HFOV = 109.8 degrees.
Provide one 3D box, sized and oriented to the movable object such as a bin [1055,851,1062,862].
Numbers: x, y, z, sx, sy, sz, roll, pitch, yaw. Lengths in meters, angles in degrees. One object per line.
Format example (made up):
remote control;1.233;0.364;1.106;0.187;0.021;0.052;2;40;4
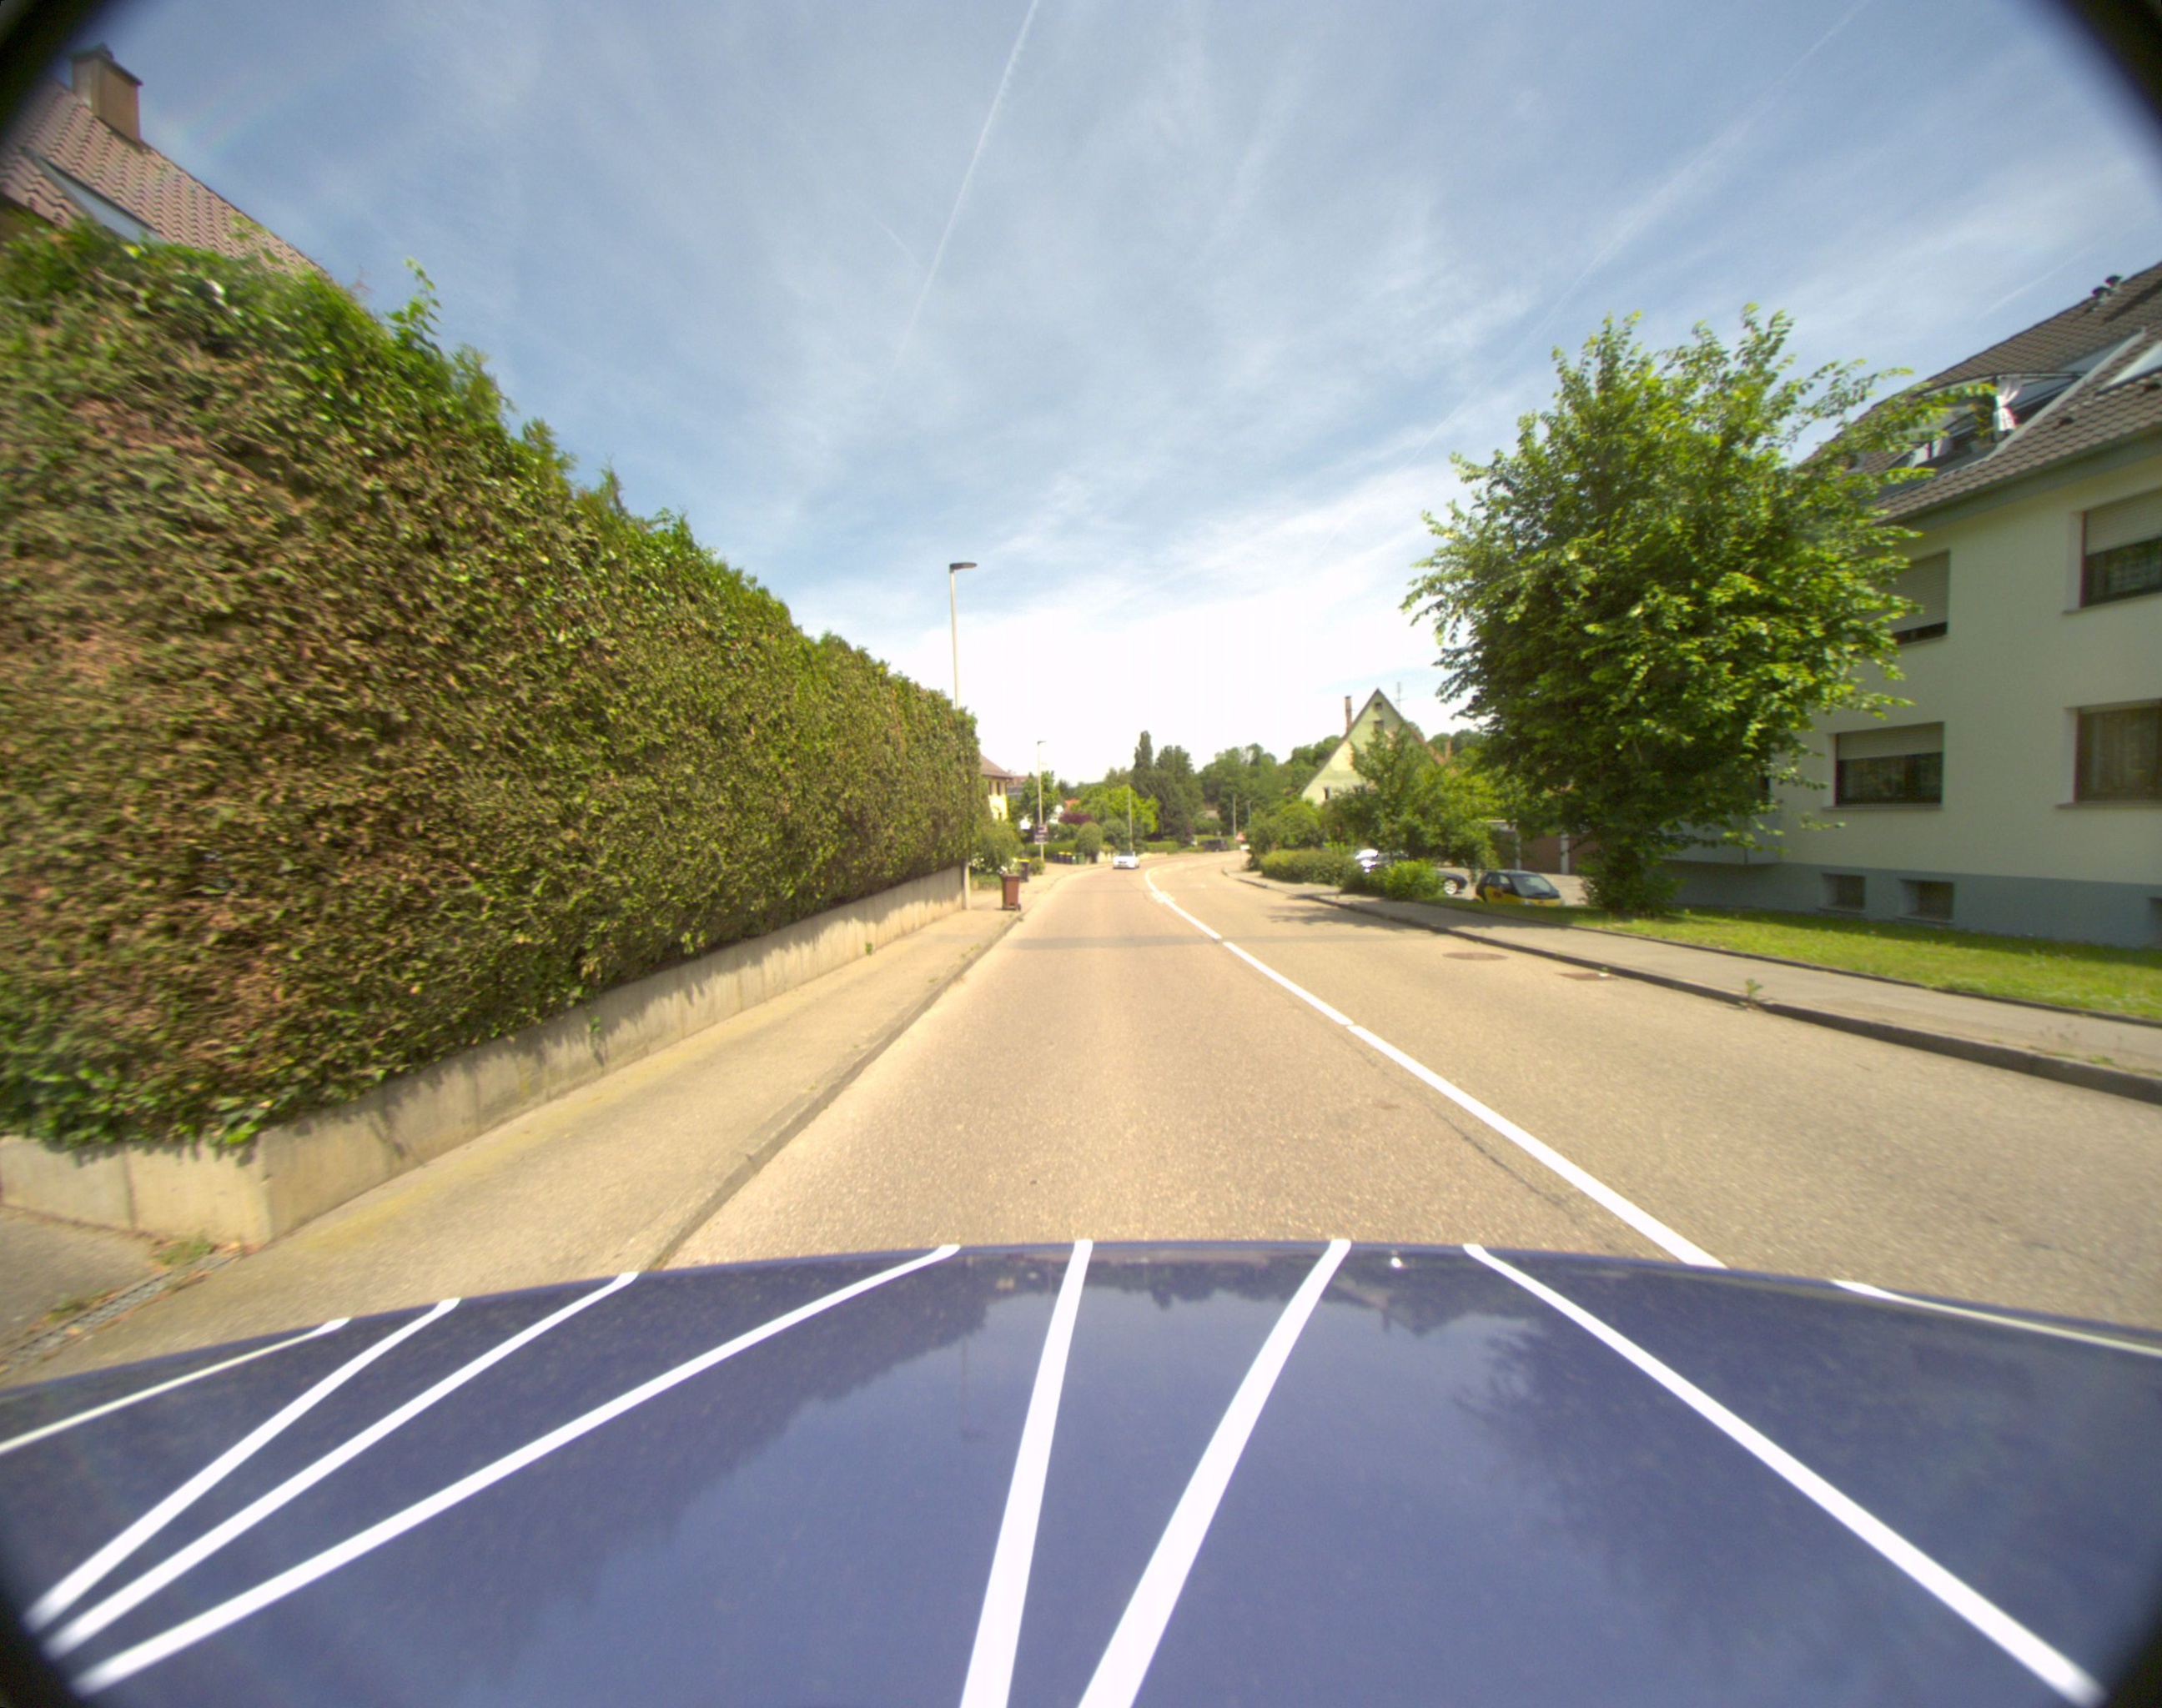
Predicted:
movable object such as a bin;-2.067;0.250;70.253;0.449;0.950;0.516;-1;1;19

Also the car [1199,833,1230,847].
car;19.791;-2.070;112.637;3.900;1.938;1.959;-1;2;34

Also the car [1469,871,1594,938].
car;12.939;1.381;22.047;1.475;1.532;3.230;-1;3;-6

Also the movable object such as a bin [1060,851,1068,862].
movable object such as a bin;-1.544;0.201;70.050;0.485;1.016;0.565;-1;1;22

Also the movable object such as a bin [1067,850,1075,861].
movable object such as a bin;-0.932;0.154;69.829;0.484;1.016;0.565;2;3;22

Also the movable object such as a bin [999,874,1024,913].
movable object such as a bin;-1.828;1.032;20.142;0.590;0.972;0.786;0;1;0

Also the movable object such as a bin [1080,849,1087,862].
movable object such as a bin;0.241;0.124;69.400;0.485;1.101;0.565;-1;2;15

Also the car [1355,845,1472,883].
car;13.407;0.389;30.804;3.966;1.240;1.646;3;1;1

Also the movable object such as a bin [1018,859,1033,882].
movable object such as a bin;-2.693;0.780;36.770;0.589;1.053;0.919;-1;1;3

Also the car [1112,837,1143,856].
car;3.887;-0.620;63.004;1.824;1.543;4.004;0;1;14

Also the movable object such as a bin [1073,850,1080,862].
movable object such as a bin;-0.392;0.153;69.589;0.485;1.065;0.565;-1;2;22
